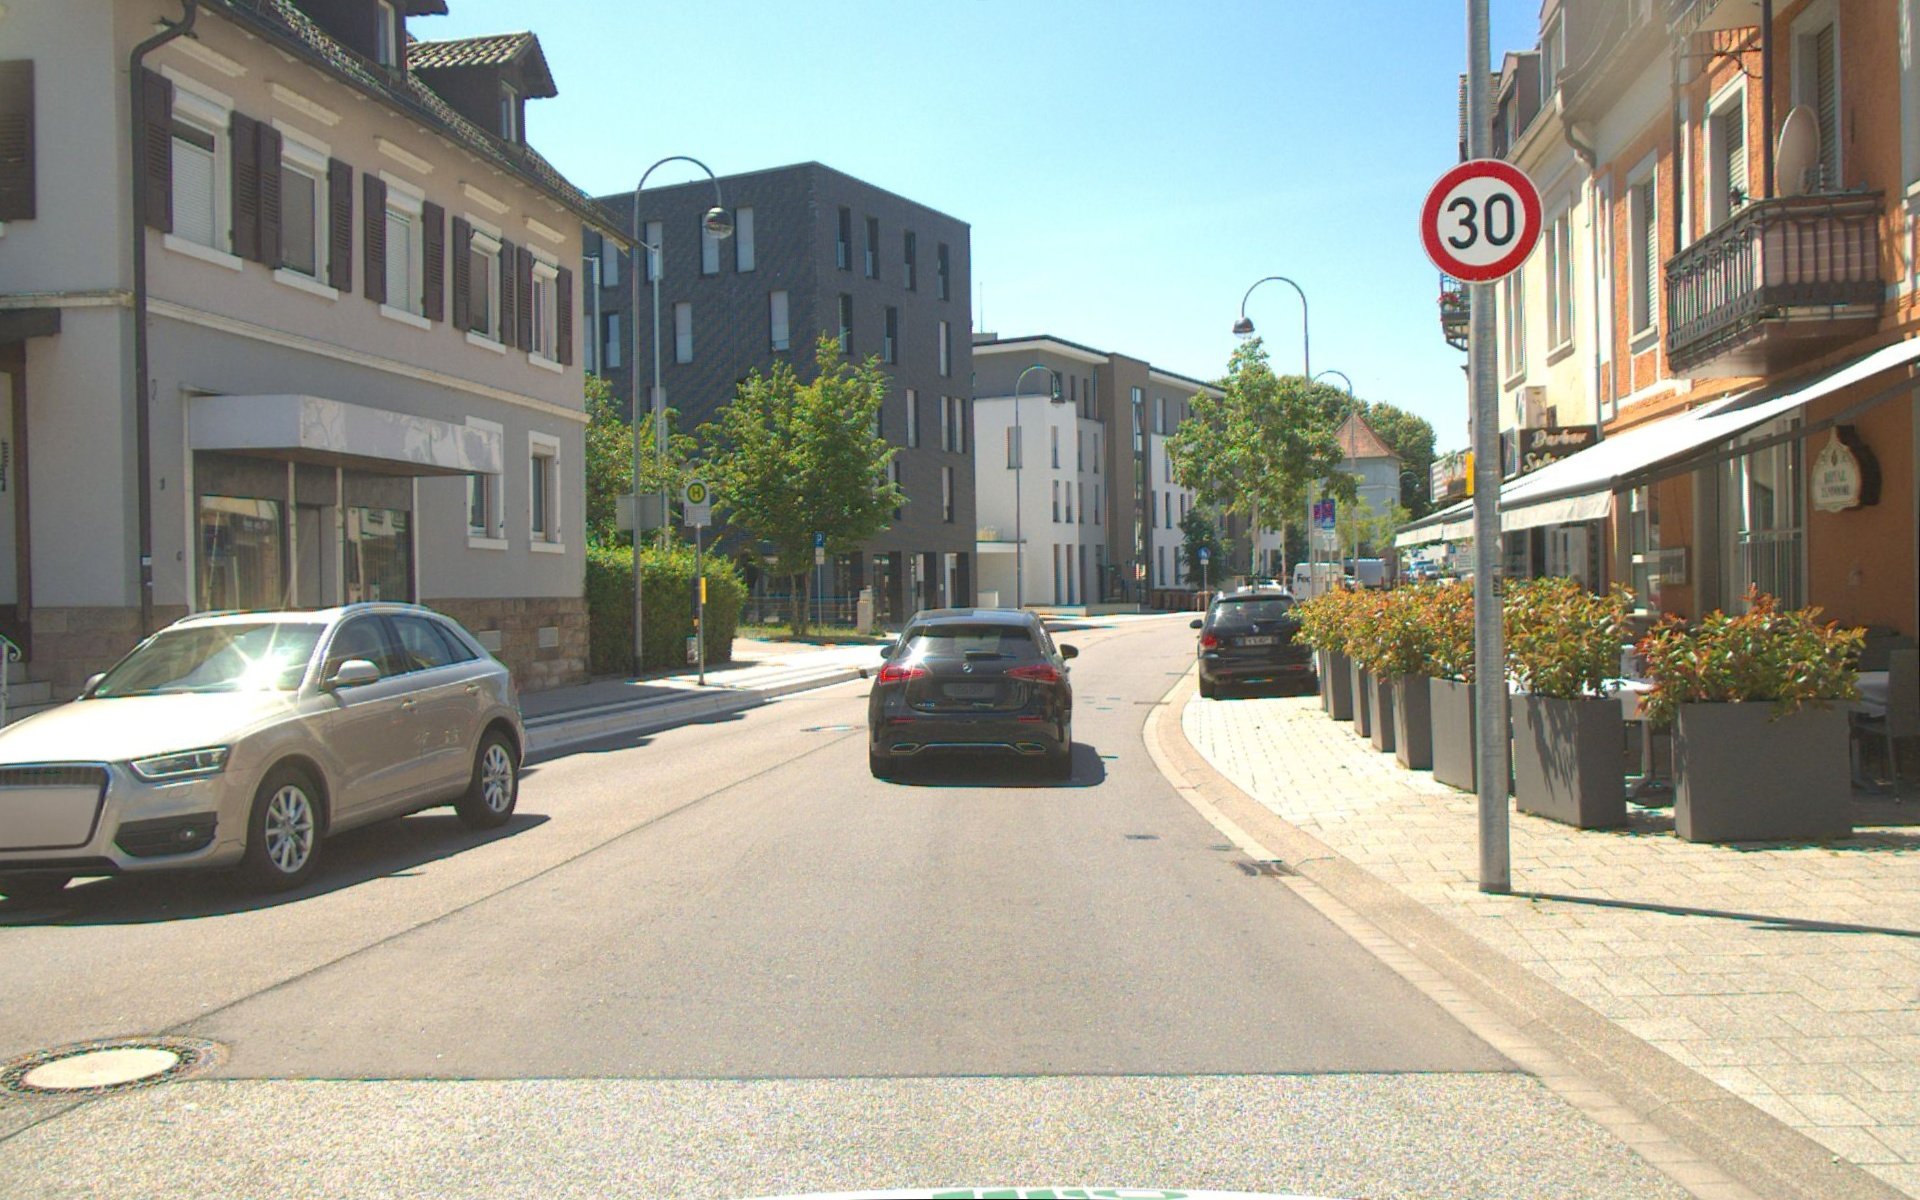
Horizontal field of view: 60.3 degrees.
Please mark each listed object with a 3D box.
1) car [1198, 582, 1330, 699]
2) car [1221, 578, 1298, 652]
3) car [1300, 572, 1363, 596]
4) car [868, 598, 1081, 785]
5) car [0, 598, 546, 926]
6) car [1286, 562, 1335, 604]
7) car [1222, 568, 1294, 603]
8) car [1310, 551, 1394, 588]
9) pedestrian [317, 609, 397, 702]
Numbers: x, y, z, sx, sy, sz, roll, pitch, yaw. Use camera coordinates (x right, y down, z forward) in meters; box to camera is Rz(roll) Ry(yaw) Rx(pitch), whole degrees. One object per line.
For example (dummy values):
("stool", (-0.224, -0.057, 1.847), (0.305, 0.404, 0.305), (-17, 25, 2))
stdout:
("car", (4.543, 0.539, 24.873), (1.713, 1.512, 4.004), (-4, 0, 10))
("car", (6.904, 0.315, 38.414), (1.571, 1.556, 3.495), (-3, 0, 8))
("car", (26.415, -1.134, 117.632), (3.912, 1.691, 1.997), (-1, 0, 29))
("car", (0.105, 0.745, 15.731), (1.727, 1.483, 4.438), (-1, 0, 0))
("car", (-4.256, 0.835, 10.382), (1.639, 1.569, 4.087), (-3, 0, 10))
("car", (17.648, -0.848, 83.174), (1.952, 2.049, 4.002), (-1, 1, 19))
("car", (18.397, -0.892, 102.209), (3.913, 2.049, 1.996), (-1, 0, 31))
("car", (28.957, -2.219, 122.145), (5.537, 2.624, 2.510), (-1, 0, 31))
("pedestrian", (-7.225, 0.660, 19.839), (0.656, 1.073, 0.700), (-1, 0, 5))
